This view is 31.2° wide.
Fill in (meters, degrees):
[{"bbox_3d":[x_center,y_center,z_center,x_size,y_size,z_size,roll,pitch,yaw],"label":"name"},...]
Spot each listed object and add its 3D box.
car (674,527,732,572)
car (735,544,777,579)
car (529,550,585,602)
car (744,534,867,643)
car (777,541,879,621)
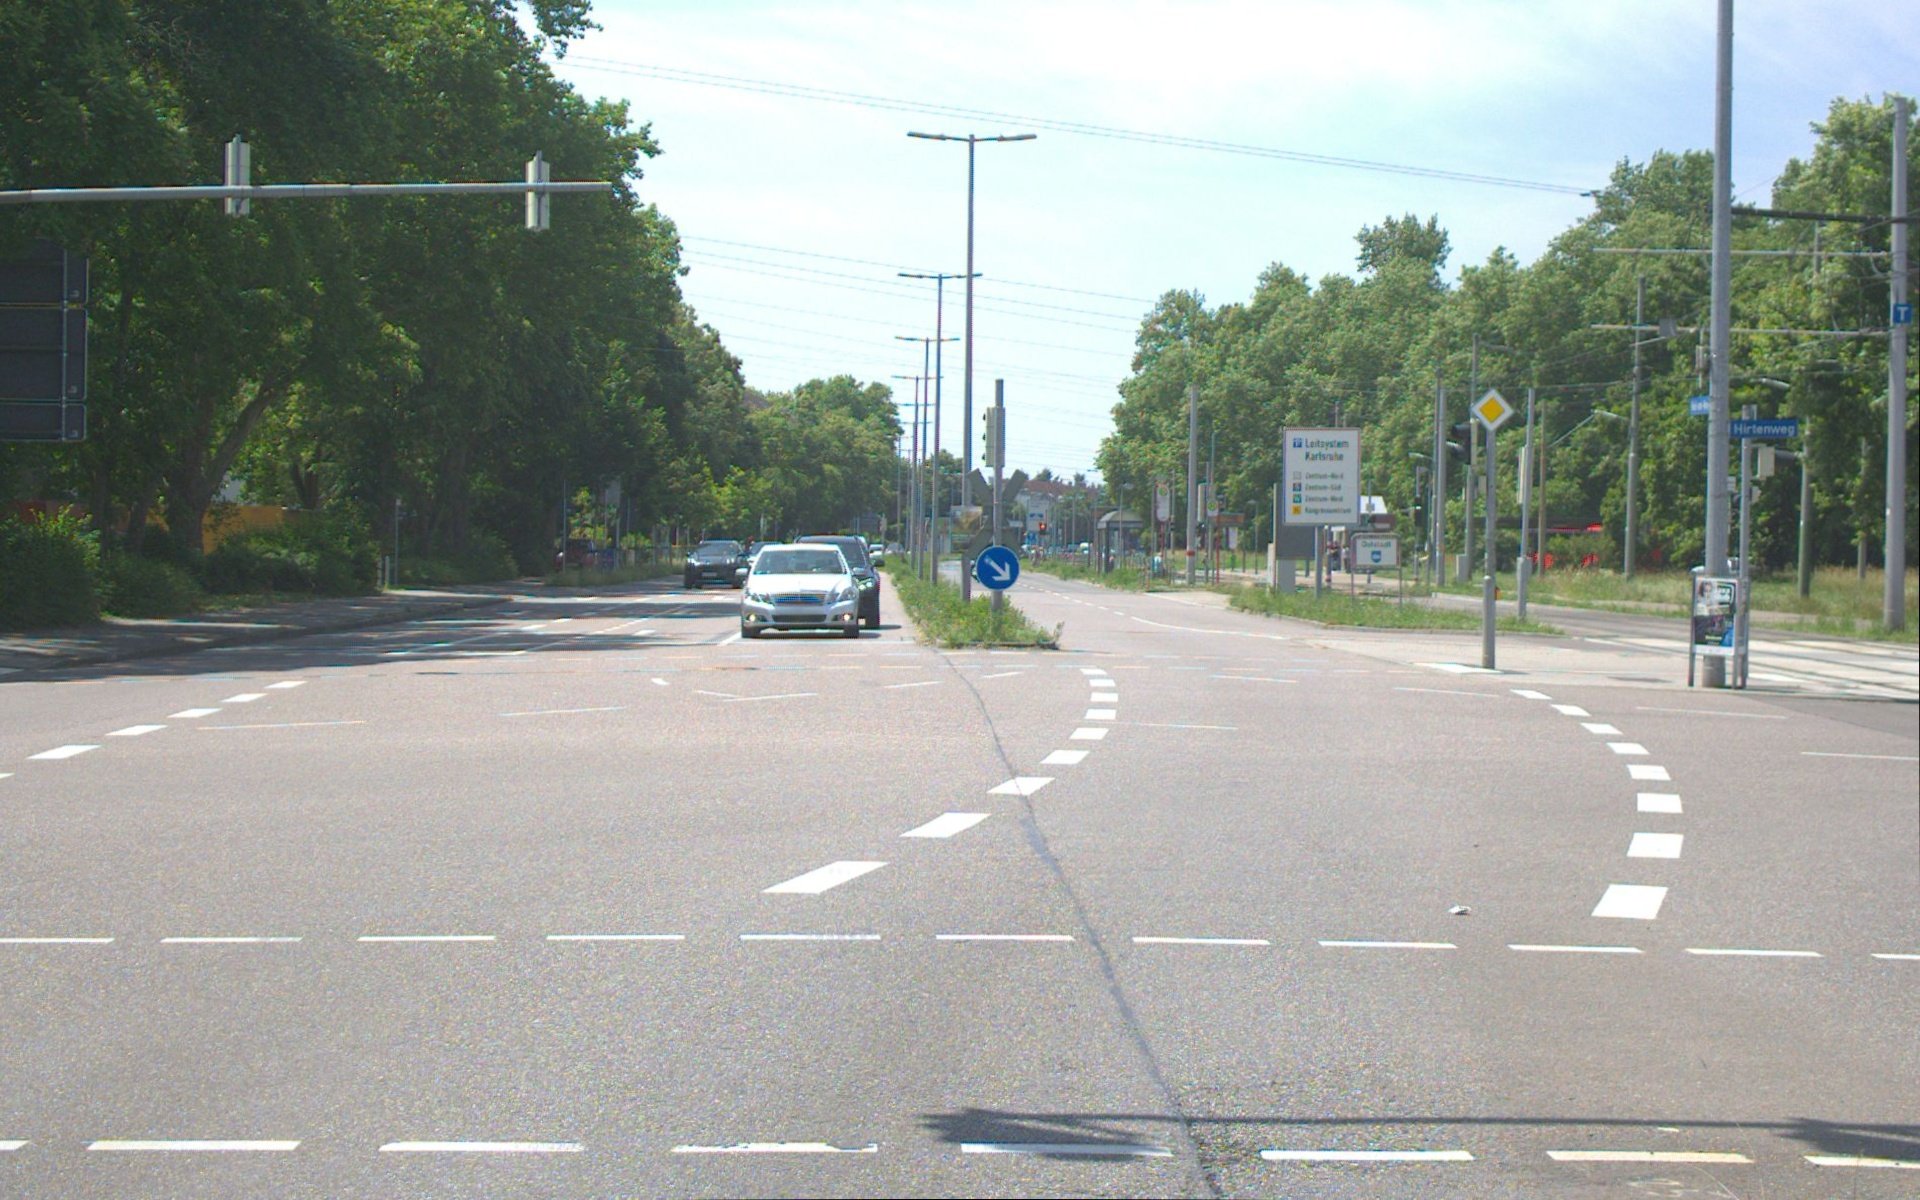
[{"bbox_3d":[-8.617,-1.705,115.502,1.671,1.485,3.711,1,1,-1],"label":"car"},{"bbox_3d":[-8.950,-1.683,151.116,1.671,1.485,3.711,1,1,-1],"label":"car"},{"bbox_3d":[-16.958,-1.024,144.755,1.993,2.007,4.001,4,0,-4],"label":"car"},{"bbox_3d":[-2.402,-0.212,54.225,1.784,1.623,3.865,1,1,-1],"label":"car"},{"bbox_3d":[-2.332,-0.366,61.571,1.710,1.361,3.865,1,1,-1],"label":"car"}]
